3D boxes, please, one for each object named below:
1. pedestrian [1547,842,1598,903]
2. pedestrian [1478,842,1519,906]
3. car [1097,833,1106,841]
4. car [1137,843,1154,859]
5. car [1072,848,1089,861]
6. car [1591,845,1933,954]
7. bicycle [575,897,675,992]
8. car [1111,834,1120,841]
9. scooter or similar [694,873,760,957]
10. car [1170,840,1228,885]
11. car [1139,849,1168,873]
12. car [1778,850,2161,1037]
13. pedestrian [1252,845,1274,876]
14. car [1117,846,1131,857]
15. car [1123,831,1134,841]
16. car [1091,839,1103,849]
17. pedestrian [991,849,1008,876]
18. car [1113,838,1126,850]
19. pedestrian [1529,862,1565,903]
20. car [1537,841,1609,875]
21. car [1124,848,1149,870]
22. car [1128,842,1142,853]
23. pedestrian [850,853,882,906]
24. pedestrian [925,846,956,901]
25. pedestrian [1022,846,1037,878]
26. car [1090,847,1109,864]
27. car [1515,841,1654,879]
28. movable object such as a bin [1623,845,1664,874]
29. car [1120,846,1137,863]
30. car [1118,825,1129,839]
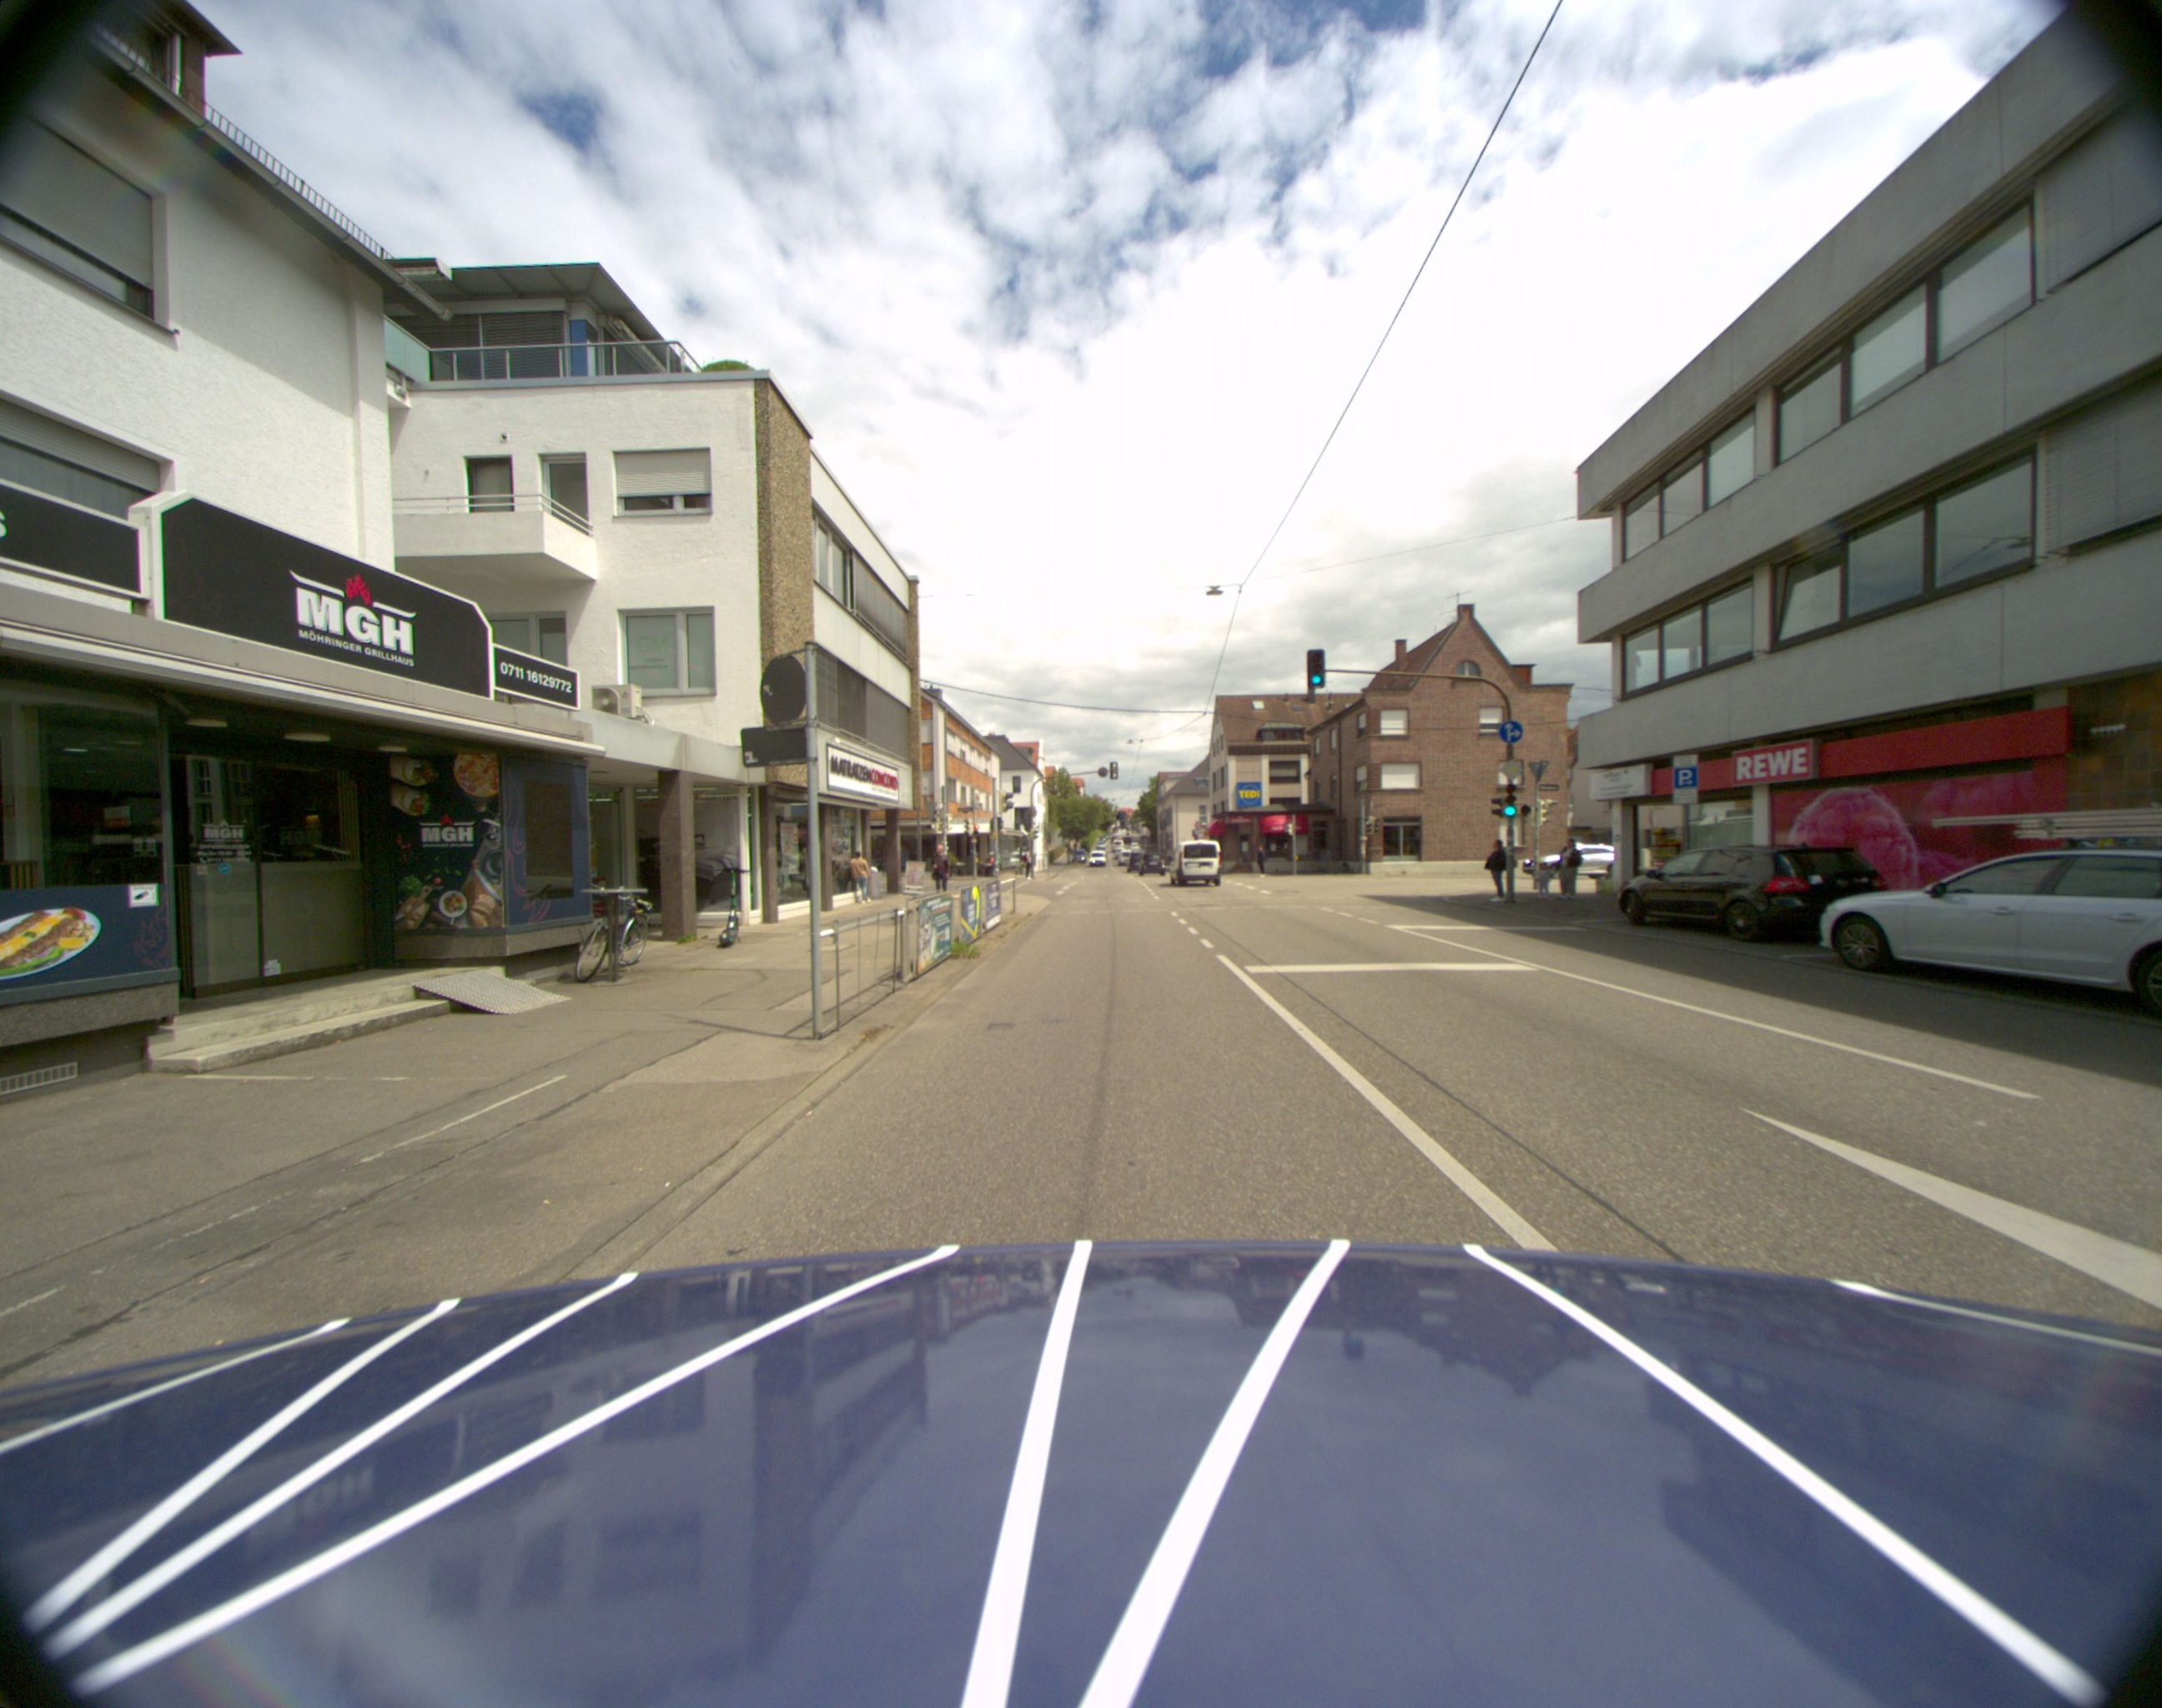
[{"bbox_3d":[12.966,0.481,20.053,0.820,1.546,0.846,-2,1,8],"label":"pedestrian"},{"bbox_3d":[11.045,0.523,20.125,0.719,1.635,0.682,-2,1,7],"label":"pedestrian"},{"bbox_3d":[4.578,-3.742,167.292,1.998,1.654,4.000,0,0,2],"label":"car"},{"bbox_3d":[9.038,-0.405,106.122,2.110,2.109,4.765,-1,1,2],"label":"car"},{"bbox_3d":[-0.008,0.017,96.285,1.998,1.654,4.000,0,0,2],"label":"car"},{"bbox_3d":[10.900,0.631,12.713,2.049,1.467,4.286,-2,0,4],"label":"car"},{"bbox_3d":[-5.855,1.117,9.845,0.476,1.022,1.635,0,0,-7],"label":"bicycle"},{"bbox_3d":[7.510,-3.495,164.709,1.858,1.414,4.192,0,0,0],"label":"car"},{"bbox_3d":[-5.817,0.973,12.560,0.690,1.260,1.184,0,1,-10],"label":"scooter or similar"},{"bbox_3d":[4.940,0.326,32.362,1.950,1.810,4.278,0,0,2],"label":"car"},{"bbox_3d":[4.887,0.449,51.401,1.681,1.626,2.833,0,0,0],"label":"car"},{"bbox_3d":[9.847,0.720,7.314,2.048,1.436,4.954,-2,0,6],"label":"car"},{"bbox_3d":[10.408,0.362,43.495,0.908,1.713,0.849,-1,1,-40],"label":"pedestrian"},{"bbox_3d":[6.075,-0.306,106.747,1.757,1.478,3.970,0,0,0],"label":"car"},{"bbox_3d":[9.772,-3.698,156.239,2.110,2.109,4.765,-1,1,2],"label":"car"},{"bbox_3d":[2.815,-1.710,133.972,1.998,1.654,4.000,0,0,2],"label":"car"},{"bbox_3d":[-4.519,0.470,42.203,0.779,1.517,0.819,0,1,4],"label":"pedestrian"},{"bbox_3d":[6.405,-1.677,126.023,1.981,1.985,5.028,0,0,0],"label":"car"},{"bbox_3d":[12.397,0.759,20.222,0.560,1.051,0.662,-2,1,8],"label":"pedestrian"},{"bbox_3d":[28.280,0.230,43.793,1.869,1.852,3.702,0,0,2],"label":"car"},{"bbox_3d":[4.868,0.389,67.143,1.953,1.866,4.876,0,1,1],"label":"car"},{"bbox_3d":[8.891,-1.125,125.152,2.110,1.778,4.529,-1,1,2],"label":"car"},{"bbox_3d":[-6.158,0.724,21.765,0.681,1.490,0.720,0,1,2],"label":"pedestrian"},{"bbox_3d":[-4.334,0.599,23.493,0.796,1.661,0.807,0,1,2],"label":"pedestrian"},{"bbox_3d":[-2.923,0.442,43.210,0.581,1.820,0.882,1,1,18],"label":"pedestrian"},{"bbox_3d":[2.108,0.128,86.827,1.999,1.797,4.765,-1,0,0],"label":"car"},{"bbox_3d":[24.054,0.286,36.444,5.254,1.758,2.001,0,0,5],"label":"car"},{"bbox_3d":[32.352,0.314,43.734,1.519,1.615,1.145,-2,1,5],"label":"movable object such as a bin"},{"bbox_3d":[5.476,0.072,87.754,1.819,1.919,4.113,0,0,2],"label":"car"},{"bbox_3d":[11.007,-5.574,195.789,2.428,3.409,7.637,0,0,0],"label":"car"}]
